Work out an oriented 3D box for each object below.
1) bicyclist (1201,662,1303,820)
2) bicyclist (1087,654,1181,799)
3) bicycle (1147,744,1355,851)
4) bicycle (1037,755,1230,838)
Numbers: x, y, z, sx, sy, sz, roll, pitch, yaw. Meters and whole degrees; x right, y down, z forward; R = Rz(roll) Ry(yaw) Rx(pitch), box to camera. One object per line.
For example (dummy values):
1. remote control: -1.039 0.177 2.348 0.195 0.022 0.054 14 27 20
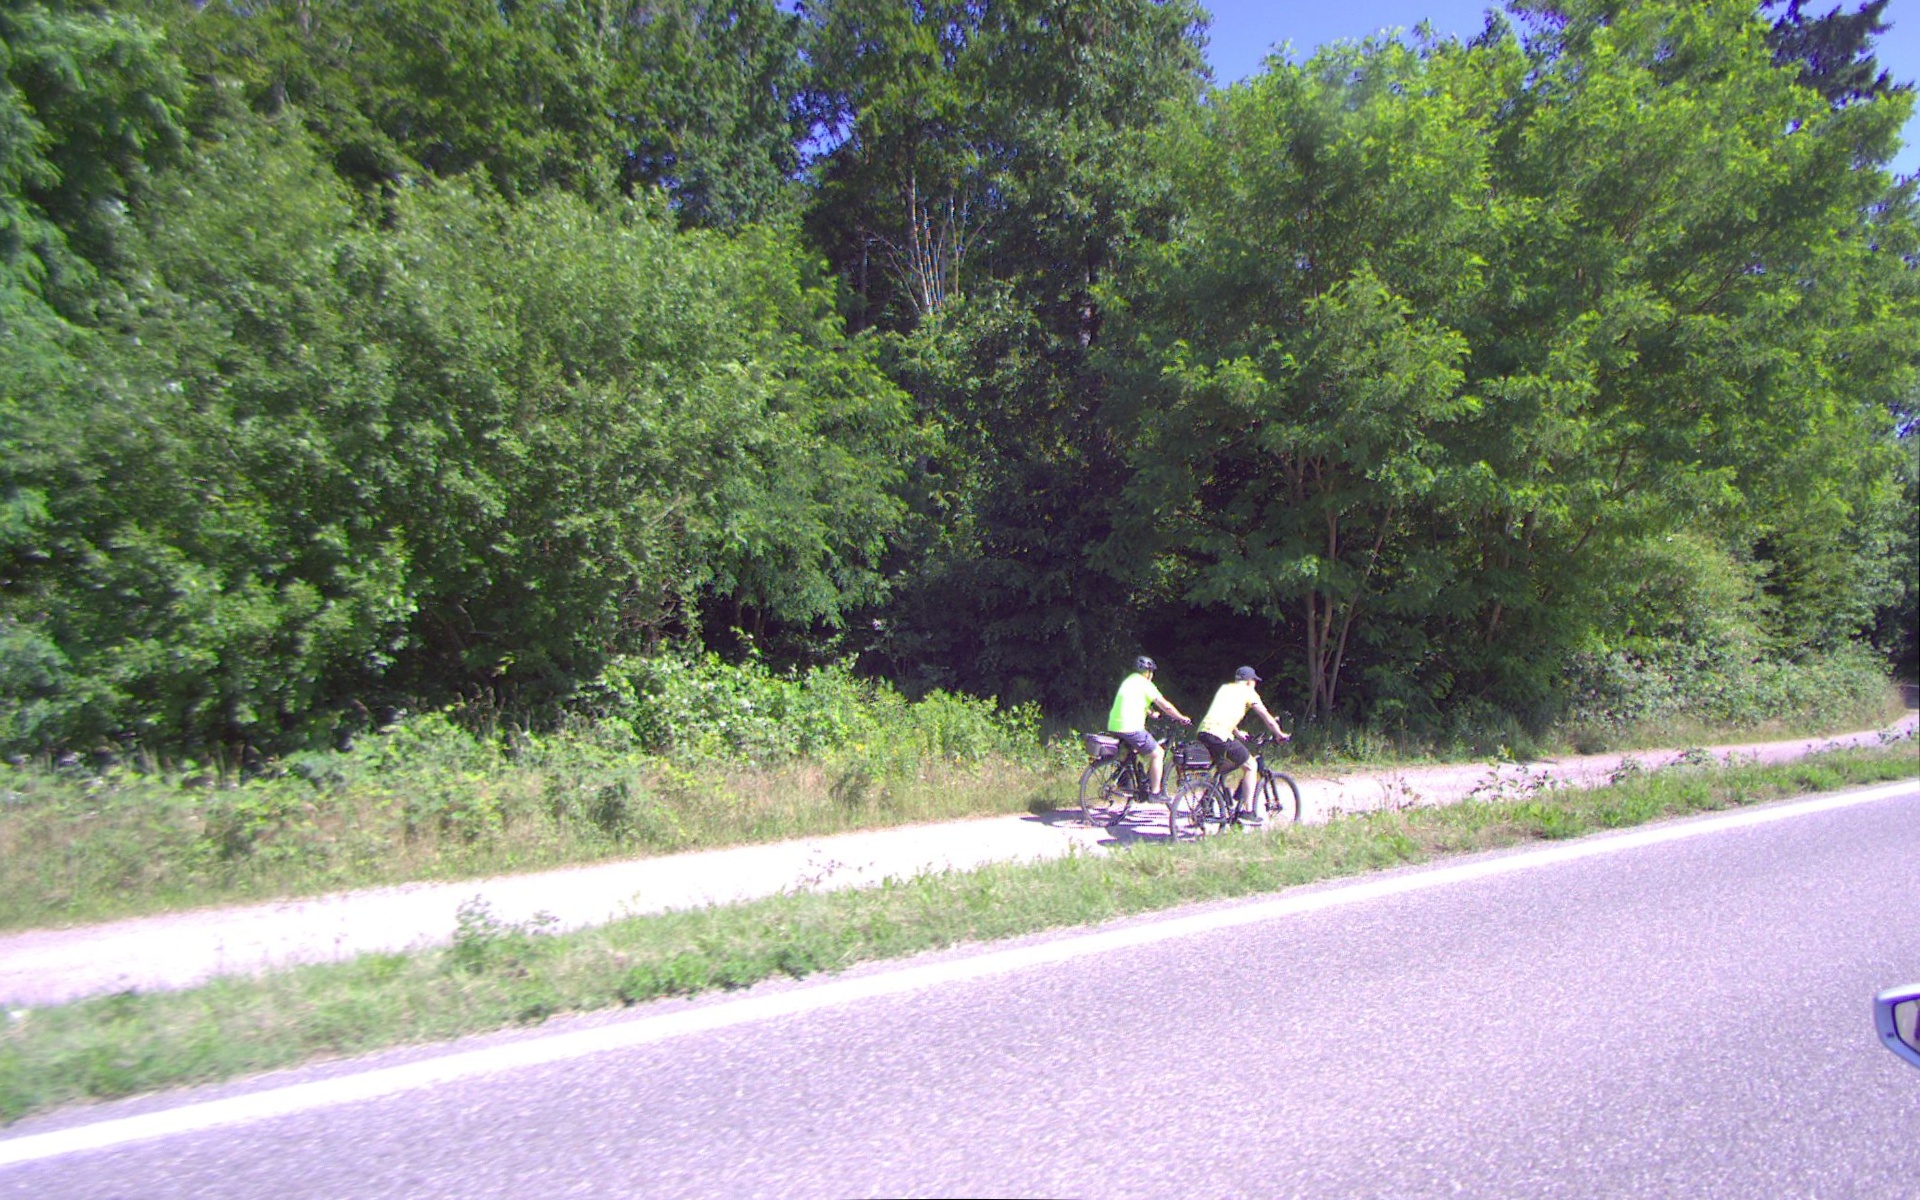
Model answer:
1. bicyclist: 2.794 1.316 9.626 0.694 1.434 0.602 2 -4 -30
2. bicyclist: 1.841 1.323 10.660 0.694 1.434 0.602 4 -1 -30
3. bicycle: 2.813 1.848 9.632 2.112 0.798 0.637 2 -4 -30
4. bicycle: 1.873 2.058 10.694 2.112 0.690 0.616 4 -1 -30
